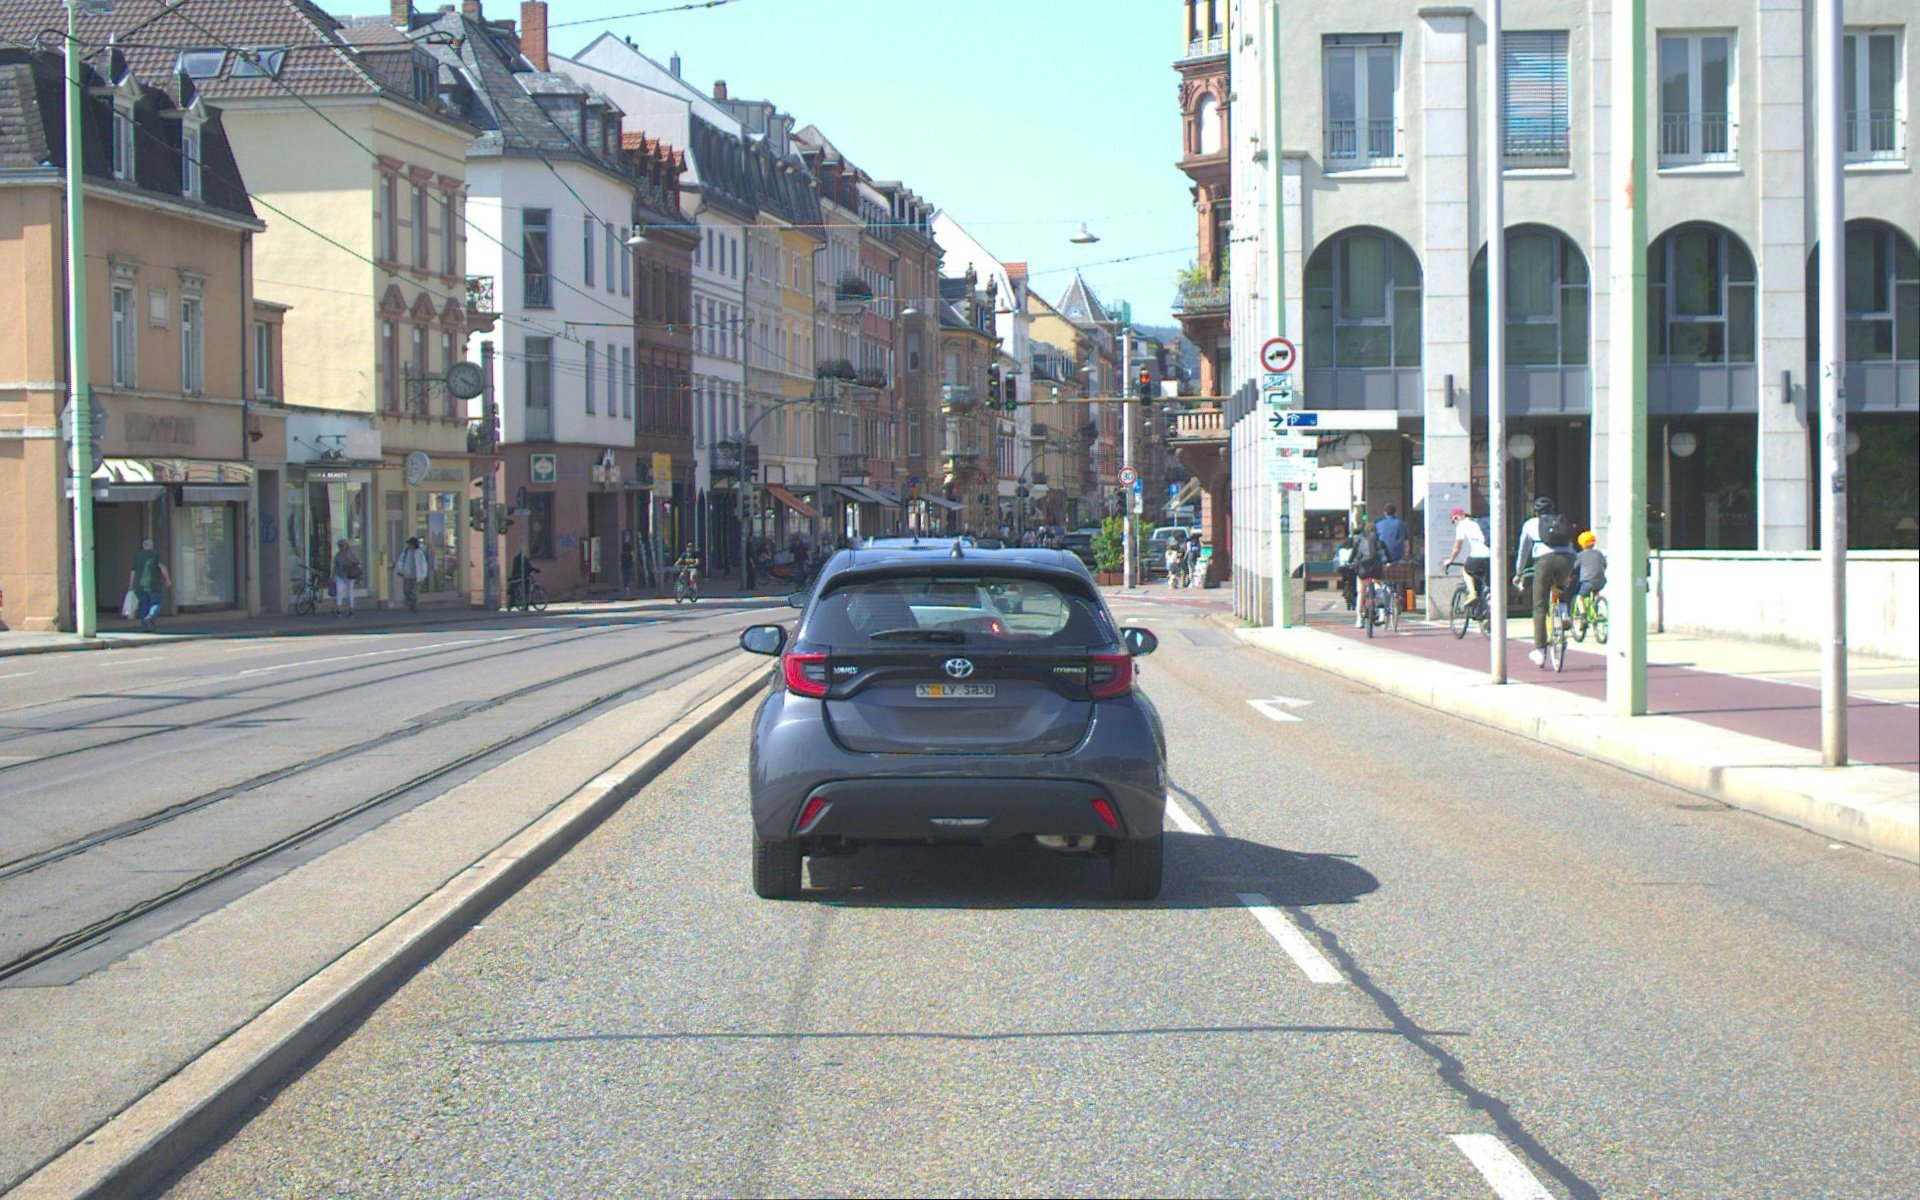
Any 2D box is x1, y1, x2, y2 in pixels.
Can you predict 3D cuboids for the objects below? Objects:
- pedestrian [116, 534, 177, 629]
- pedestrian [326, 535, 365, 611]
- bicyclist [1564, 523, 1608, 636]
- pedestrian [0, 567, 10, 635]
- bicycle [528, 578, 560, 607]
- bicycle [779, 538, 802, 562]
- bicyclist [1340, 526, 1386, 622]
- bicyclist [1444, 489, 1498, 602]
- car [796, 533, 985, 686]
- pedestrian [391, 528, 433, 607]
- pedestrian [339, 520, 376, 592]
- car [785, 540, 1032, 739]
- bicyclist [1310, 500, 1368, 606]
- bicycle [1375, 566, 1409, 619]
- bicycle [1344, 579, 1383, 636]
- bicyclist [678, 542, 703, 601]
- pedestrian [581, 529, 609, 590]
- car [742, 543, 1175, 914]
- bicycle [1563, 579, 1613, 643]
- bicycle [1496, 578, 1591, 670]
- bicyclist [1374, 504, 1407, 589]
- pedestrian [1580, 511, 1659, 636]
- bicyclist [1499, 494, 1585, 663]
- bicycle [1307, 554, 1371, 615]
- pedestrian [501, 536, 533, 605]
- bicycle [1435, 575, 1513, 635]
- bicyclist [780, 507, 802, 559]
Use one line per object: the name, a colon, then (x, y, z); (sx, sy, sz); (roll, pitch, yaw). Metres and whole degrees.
pedestrian: (-14.569, -0.332, 61.576); (0.762, 1.648, 0.711); (4, 1, 6)
pedestrian: (-13.356, -0.588, 74.722); (0.649, 1.596, 0.566); (4, 3, 0)
bicyclist: (7.782, -0.255, 42.753); (0.422, 1.378, 0.443); (-2, 1, 0)
pedestrian: (-16.230, 0.009, 57.500); (0.412, 1.142, 0.544); (4, 1, 6)
bicycle: (-10.830, -0.196, 89.502); (0.620, 0.713, 1.771); (1, 2, 0)
bicycle: (-5.418, -1.607, 109.825); (0.620, 0.713, 1.731); (1, 2, 0)
bicyclist: (5.656, -0.365, 48.227); (0.538, 1.312, 0.672); (-2, 1, 2)
bicyclist: (6.740, -0.721, 45.322); (0.484, 1.461, 0.443); (-3, 1, -39)
car: (-0.722, 0.059, 36.928); (1.897, 1.525, 4.000); (1, 1, -1)
pedestrian: (-12.640, -0.754, 79.330); (0.736, 1.760, 0.787); (4, 1, 0)
pedestrian: (-14.011, -1.026, 79.939); (0.649, 1.596, 0.566); (4, 3, 0)
car: (-0.419, 0.274, 28.741); (1.897, 1.525, 4.000); (1, 1, -1)
bicyclist: (9.190, -1.139, 83.377); (1.228, 2.520, 1.105); (1, 1, 0)
bicycle: (6.471, -0.111, 51.503); (0.416, 0.763, 0.962); (-2, 1, 3)
bicycle: (5.662, 0.096, 48.227); (0.416, 0.763, 1.205); (-2, 1, 2)
bicyclist: (-7.556, -0.805, 96.384); (0.627, 1.644, 0.622); (1, 2, 1)
pedestrian: (-10.720, -1.201, 101.102); (0.736, 1.760, 0.787); (0, 2, 0)
car: (-0.024, 0.488, 15.676); (1.720, 1.468, 3.658); (1, 1, -1)
bicycle: (7.802, 0.131, 42.746); (0.416, 0.763, 0.962); (-2, 1, 0)
bicycle: (5.952, 0.237, 35.112); (0.704, 0.879, 1.525); (-1, 1, 1)
bicyclist: (6.446, -0.800, 51.509); (0.422, 1.252, 0.443); (-2, 1, 3)
pedestrian: (8.826, -0.354, 46.038); (0.739, 1.609, 1.016); (4, 1, -1)
bicyclist: (5.947, -0.228, 35.167); (0.701, 1.689, 0.924); (-1, 1, 0)
bicycle: (9.191, -0.391, 83.505); (1.112, 1.415, 3.007); (1, 1, -2)
pedestrian: (-11.516, -0.769, 89.425); (0.736, 1.760, 0.787); (0, 2, 0)
bicycle: (6.771, 0.067, 45.332); (0.416, 0.763, 0.961); (-3, 1, -39)
bicyclist: (-5.386, -2.133, 109.804); (0.627, 1.644, 0.622); (1, 2, 1)
